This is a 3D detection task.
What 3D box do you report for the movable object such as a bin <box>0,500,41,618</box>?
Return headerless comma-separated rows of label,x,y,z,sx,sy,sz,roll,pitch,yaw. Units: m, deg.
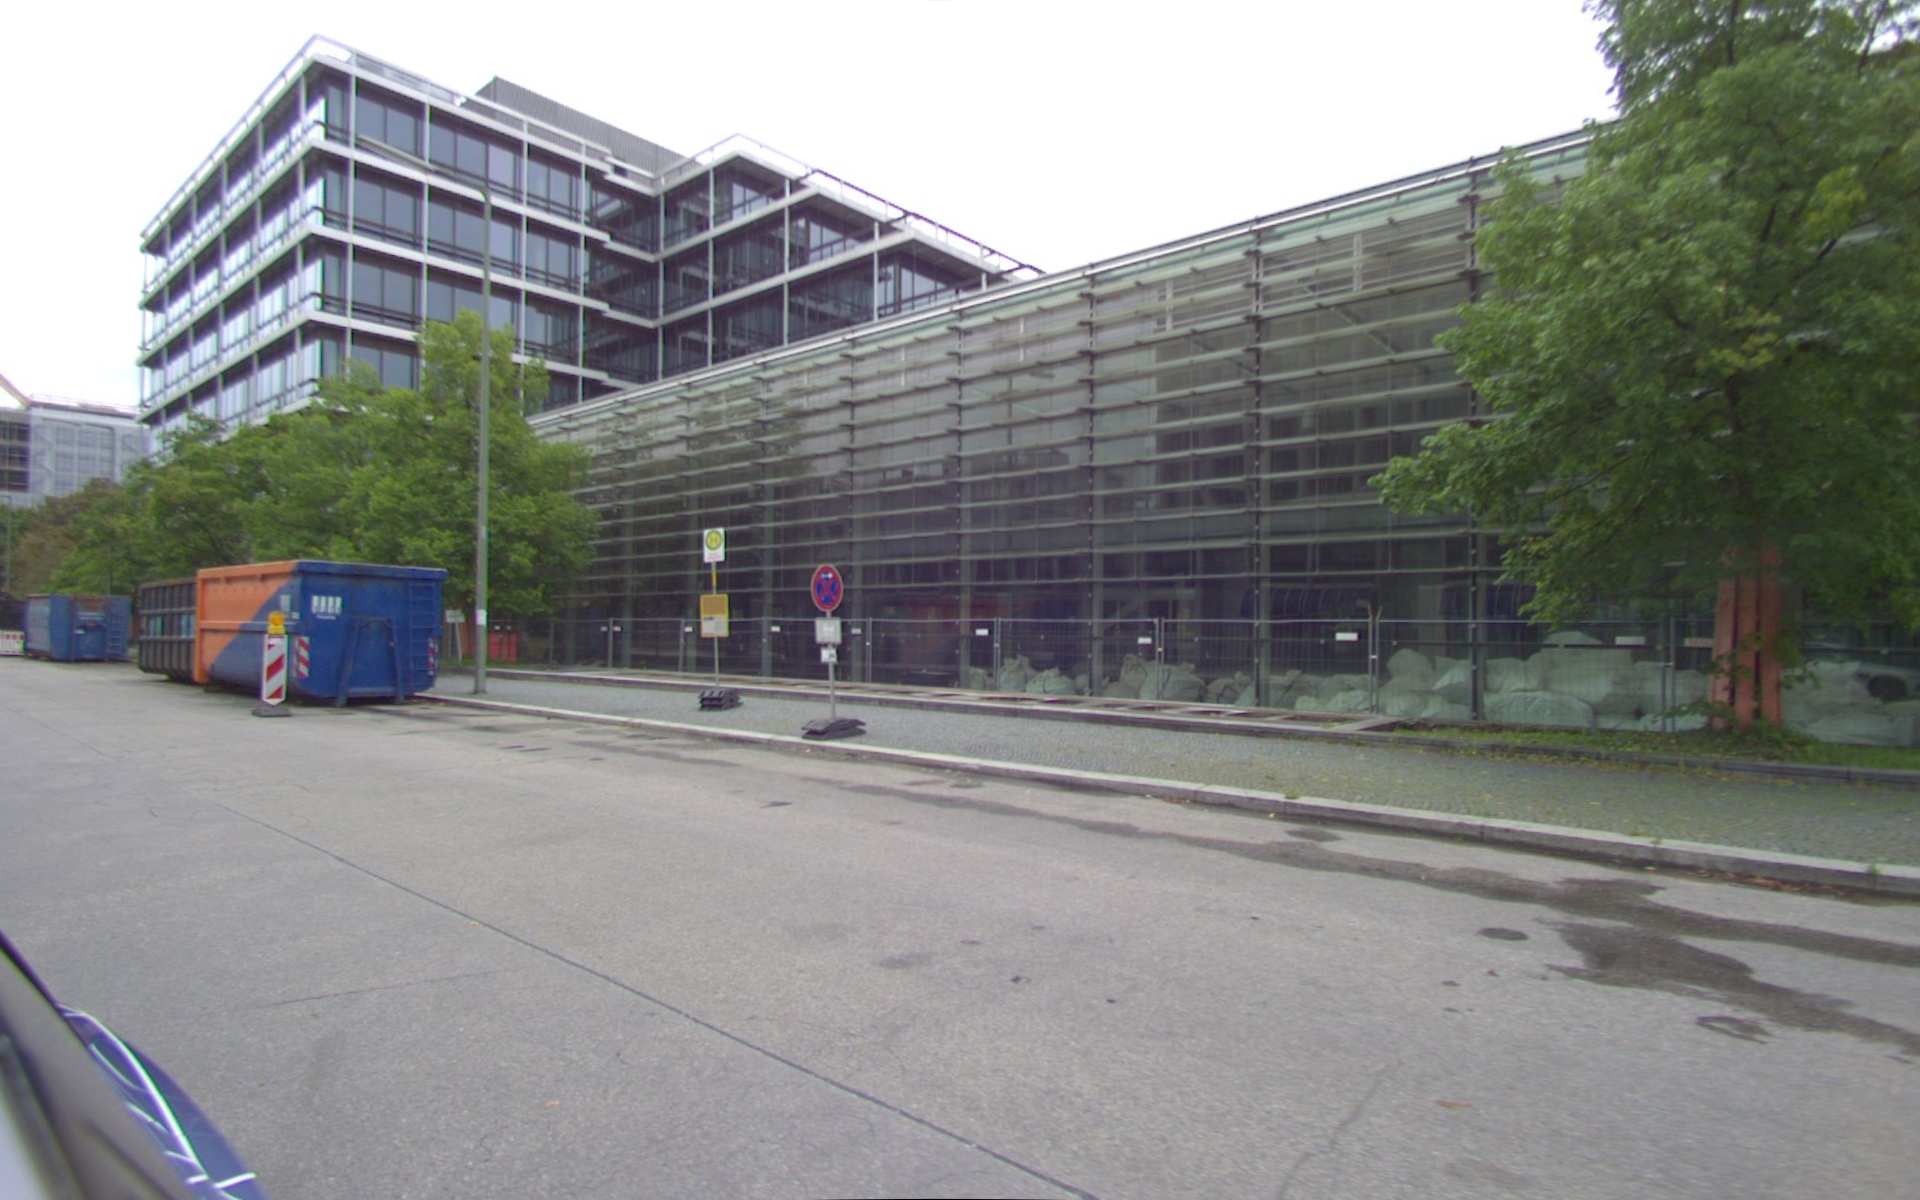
movable object such as a bin,-58.250,-2.259,60.877,11.777,6.614,2.874,-1,-2,41
